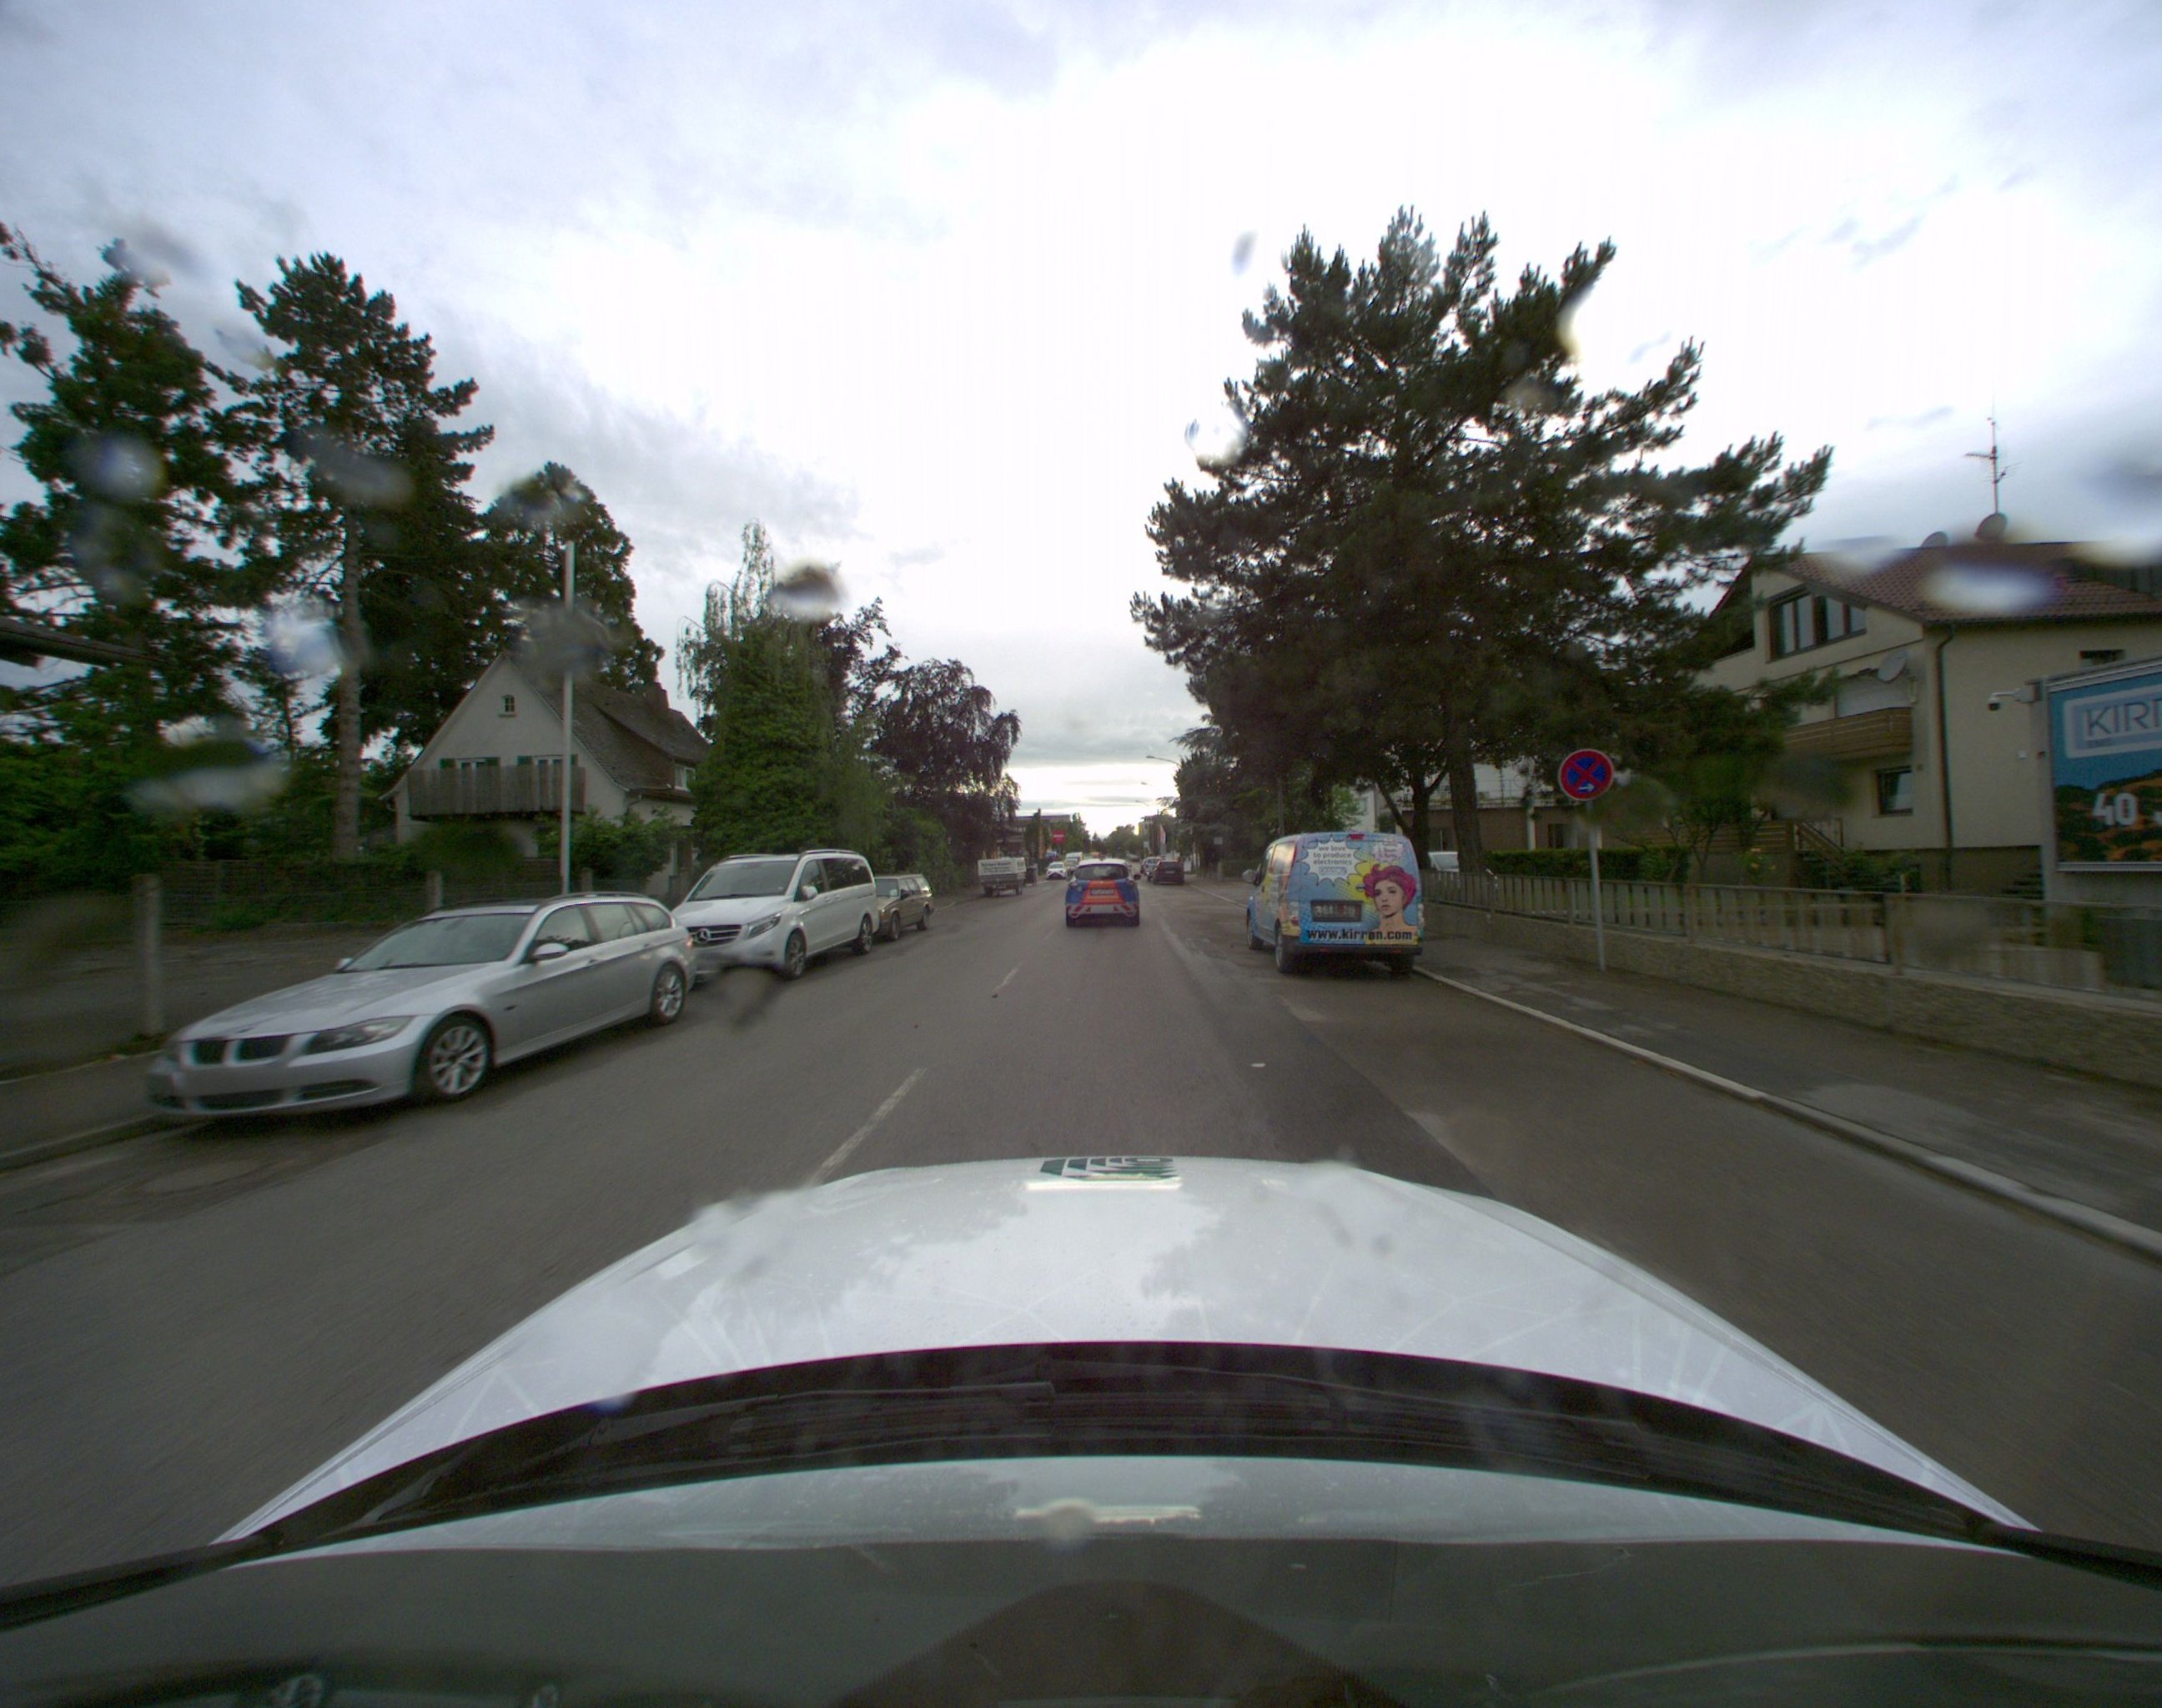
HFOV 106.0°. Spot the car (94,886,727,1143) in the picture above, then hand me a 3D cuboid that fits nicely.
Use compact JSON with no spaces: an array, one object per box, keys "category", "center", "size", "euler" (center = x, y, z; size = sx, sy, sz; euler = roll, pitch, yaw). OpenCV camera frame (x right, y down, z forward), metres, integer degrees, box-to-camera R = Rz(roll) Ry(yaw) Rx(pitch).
[{"category":"car","center":[-5.187,1.089,7.395],"size":[1.631,1.365,4.710],"euler":[-3,-1,3]}]

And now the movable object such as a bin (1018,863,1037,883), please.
[{"category":"movable object such as a bin","center":[-3.606,1.270,55.002],"size":[1.096,1.310,1.426],"euler":[0,-1,2]}]

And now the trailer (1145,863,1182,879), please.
[{"category":"trailer","center":[5.591,1.161,55.982],"size":[2.165,0.897,6.641],"euler":[0,0,3]}]

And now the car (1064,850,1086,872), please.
[{"category":"car","center":[-0.694,0.851,97.900],"size":[2.149,2.427,6.464],"euler":[-5,0,3]}]

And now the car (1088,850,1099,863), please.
[{"category":"car","center":[2.497,0.459,165.422],"size":[2.117,2.537,6.023],"euler":[-1,0,1]}]

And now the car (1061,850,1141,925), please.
[{"category":"car","center":[0.506,0.753,19.894],"size":[1.725,1.631,3.496],"euler":[-2,-1,2]}]

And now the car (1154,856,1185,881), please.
[{"category":"car","center":[5.370,0.879,49.648],"size":[1.732,1.433,4.654],"euler":[0,0,5]}]

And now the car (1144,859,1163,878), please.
[{"category":"car","center":[6.583,1.295,74.117],"size":[1.731,1.621,4.378],"euler":[0,-1,5]}]

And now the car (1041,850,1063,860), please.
[{"category":"car","center":[-5.962,0.162,166.645],"size":[4.288,2.014,2.064],"euler":[0,-1,2]}]

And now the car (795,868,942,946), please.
[{"category":"car","center":[-4.728,1.122,18.970],"size":[1.809,1.427,4.985],"euler":[-3,-1,3]}]

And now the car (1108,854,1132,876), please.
[{"category":"car","center":[2.828,0.787,59.625],"size":[1.644,1.522,4.000],"euler":[0,-1,1]}]

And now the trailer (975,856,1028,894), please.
[{"category":"trailer","center":[-3.856,0.976,40.303],"size":[1.921,1.765,4.552],"euler":[-1,0,3]}]

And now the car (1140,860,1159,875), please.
[{"category":"car","center":[7.039,1.410,83.966],"size":[1.731,1.466,4.549],"euler":[0,0,3]}]

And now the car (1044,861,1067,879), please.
[{"category":"car","center":[-2.202,1.374,71.453],"size":[1.609,1.509,3.663],"euler":[-3,-1,3]}]

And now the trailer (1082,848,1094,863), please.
[{"category":"trailer","center":[1.153,0.300,135.370],"size":[1.806,2.314,4.733],"euler":[-4,0,2]}]

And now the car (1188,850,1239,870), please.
[{"category":"car","center":[12.901,0.604,79.358],"size":[4.712,1.886,2.001],"euler":[0,-1,2]}]

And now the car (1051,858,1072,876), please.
[{"category":"car","center":[-1.840,1.227,76.460],"size":[1.654,1.584,3.918],"euler":[-3,-1,2]}]

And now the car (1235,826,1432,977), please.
[{"category":"car","center":[3.607,0.591,12.749],"size":[1.724,1.828,5.559],"euler":[1,0,4]}]

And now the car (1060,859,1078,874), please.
[{"category":"car","center":[-1.243,1.338,85.667],"size":[1.655,1.448,4.318],"euler":[-3,-1,1]}]

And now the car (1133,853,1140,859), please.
[{"category":"car","center":[12.739,0.359,187.103],"size":[1.584,1.341,4.093],"euler":[-1,0,1]}]

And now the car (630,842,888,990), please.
[{"category":"car","center":[-4.942,0.847,13.534],"size":[1.885,1.892,5.214],"euler":[-3,-1,3]}]

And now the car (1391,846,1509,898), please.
[{"category":"car","center":[11.544,0.538,25.805],"size":[1.739,1.488,4.115],"euler":[-2,0,-2]}]
